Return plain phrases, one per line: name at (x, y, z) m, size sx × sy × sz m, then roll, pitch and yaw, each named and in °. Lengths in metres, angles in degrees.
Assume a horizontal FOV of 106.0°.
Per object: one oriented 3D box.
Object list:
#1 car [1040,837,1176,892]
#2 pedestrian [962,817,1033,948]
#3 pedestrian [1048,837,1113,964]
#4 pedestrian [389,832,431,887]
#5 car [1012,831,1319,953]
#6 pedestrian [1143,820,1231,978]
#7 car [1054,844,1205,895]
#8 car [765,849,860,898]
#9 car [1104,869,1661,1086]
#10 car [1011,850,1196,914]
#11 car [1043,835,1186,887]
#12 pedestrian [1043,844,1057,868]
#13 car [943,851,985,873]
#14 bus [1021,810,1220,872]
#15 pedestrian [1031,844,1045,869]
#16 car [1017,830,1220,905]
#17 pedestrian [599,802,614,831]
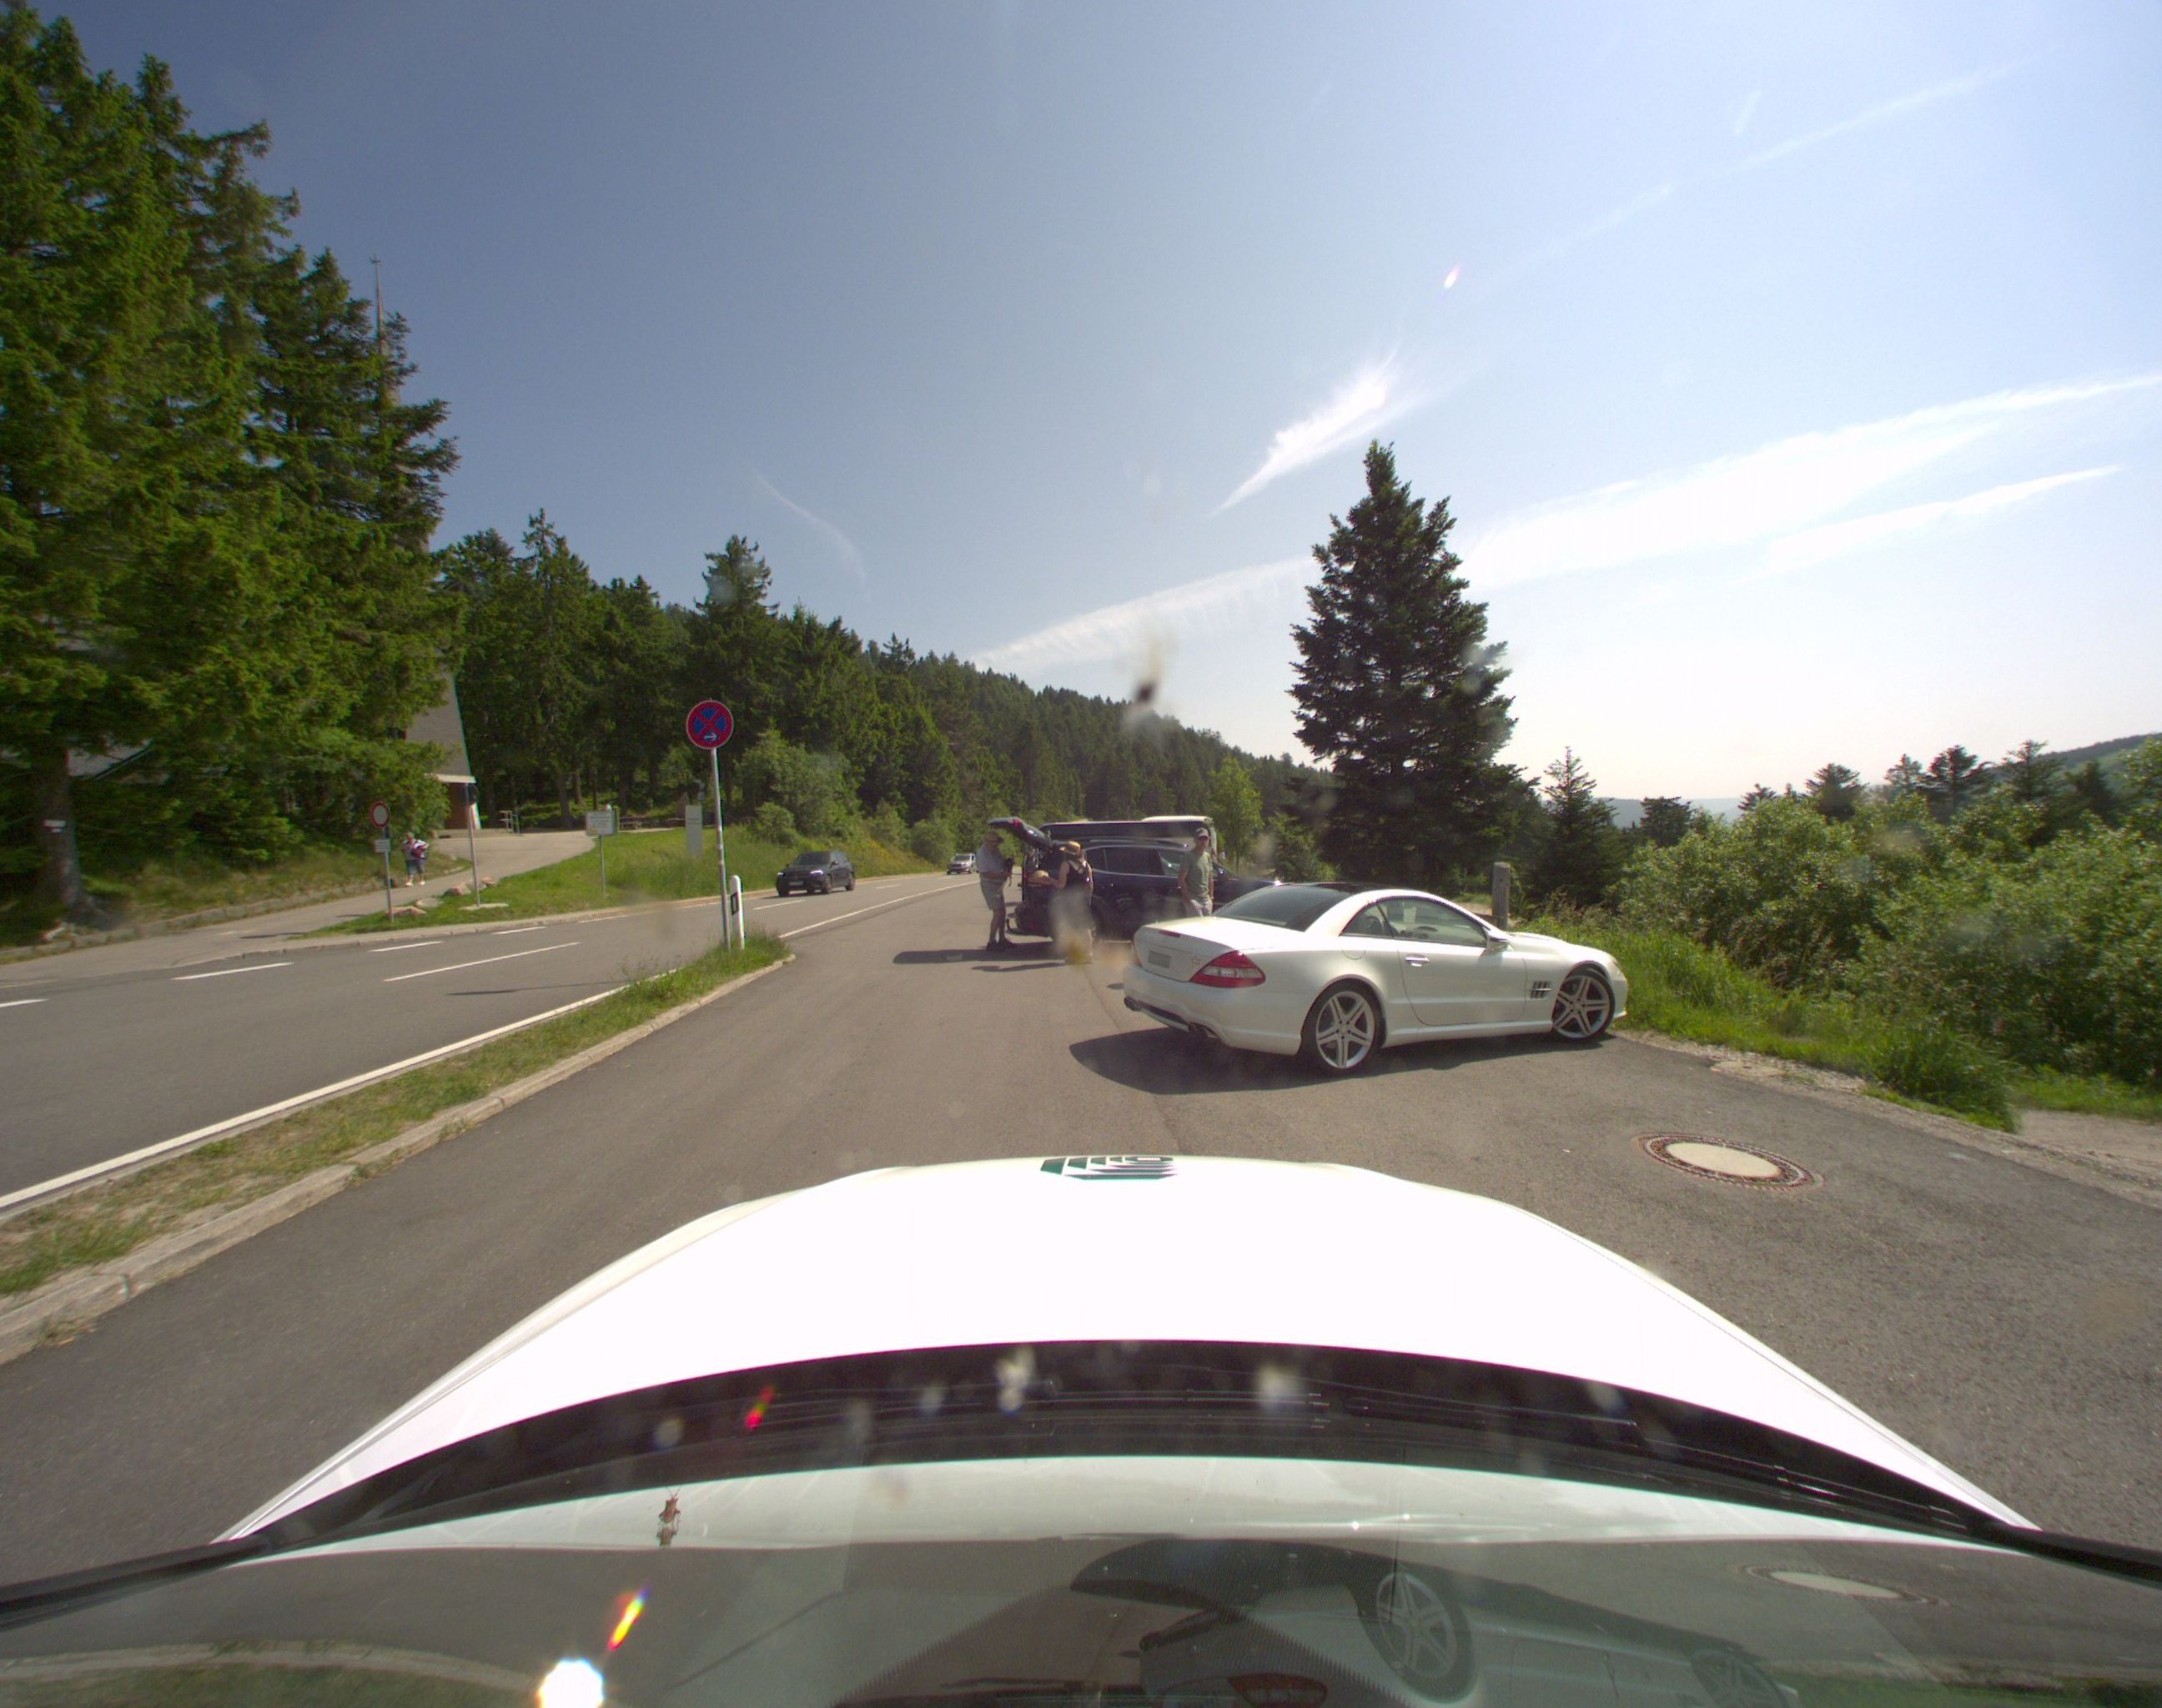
car at (0.853, 0.321, 26.620) m, size 4.231 × 1.553 × 1.837 m, roll -2°, pitch 0°, yaw -1°
pedestrian at (-1.227, 0.384, 12.092) m, size 0.728 × 1.870 × 0.763 m, roll 1°, pitch 3°, yaw 29°
pedestrian at (-0.014, 0.591, 10.692) m, size 0.716 × 1.613 × 0.533 m, roll 0°, pitch -1°, yaw -21°
pedestrian at (-21.069, 0.164, 25.588) m, size 0.721 × 1.681 × 0.679 m, roll -3°, pitch 0°, yaw -17°
car at (1.154, 0.564, 12.379) m, size 4.339 × 1.626 × 1.866 m, roll 1°, pitch -1°, yaw -7°
pedestrian at (1.267, 0.514, 9.793) m, size 0.751 × 1.800 × 0.728 m, roll 0°, pitch -1°, yaw -33°
car at (1.386, 0.438, 23.946) m, size 4.231 × 1.269 × 1.837 m, roll -2°, pitch 0°, yaw -1°
car at (-10.148, 0.671, 31.185) m, size 1.987 × 1.647 × 4.568 m, roll -3°, pitch 1°, yaw 1°
car at (2.557, 0.820, 6.826) m, size 4.417 × 1.296 × 1.742 m, roll 1°, pitch 1°, yaw -24°
car at (0.465, 0.621, 18.823) m, size 4.078 × 1.376 × 1.698 m, roll 0°, pitch 0°, yaw -7°
car at (1.180, 0.232, 29.742) m, size 5.019 × 1.651 × 2.047 m, roll -2°, pitch 0°, yaw -1°
pedestrian at (-2.000, 0.127, 53.084) m, size 0.766 × 1.585 × 0.774 m, roll -2°, pitch 0°, yaw 6°
car at (-8.473, 0.576, 59.375) m, size 1.870 × 1.474 × 4.722 m, roll -1°, pitch 0°, yaw 6°
bus at (2.724, -0.815, 54.952) m, size 13.015 × 3.532 × 3.052 m, roll -2°, pitch 0°, yaw 9°
pedestrian at (-2.797, 0.162, 53.169) m, size 0.766 × 1.585 × 0.774 m, roll -2°, pitch 0°, yaw 6°
car at (0.953, 0.317, 21.052) m, size 4.931 × 1.695 × 1.946 m, roll -2°, pitch 0°, yaw 1°
pedestrian at (-31.656, -2.526, 54.350) m, size 0.674 × 1.877 × 0.545 m, roll -3°, pitch 0°, yaw 32°
